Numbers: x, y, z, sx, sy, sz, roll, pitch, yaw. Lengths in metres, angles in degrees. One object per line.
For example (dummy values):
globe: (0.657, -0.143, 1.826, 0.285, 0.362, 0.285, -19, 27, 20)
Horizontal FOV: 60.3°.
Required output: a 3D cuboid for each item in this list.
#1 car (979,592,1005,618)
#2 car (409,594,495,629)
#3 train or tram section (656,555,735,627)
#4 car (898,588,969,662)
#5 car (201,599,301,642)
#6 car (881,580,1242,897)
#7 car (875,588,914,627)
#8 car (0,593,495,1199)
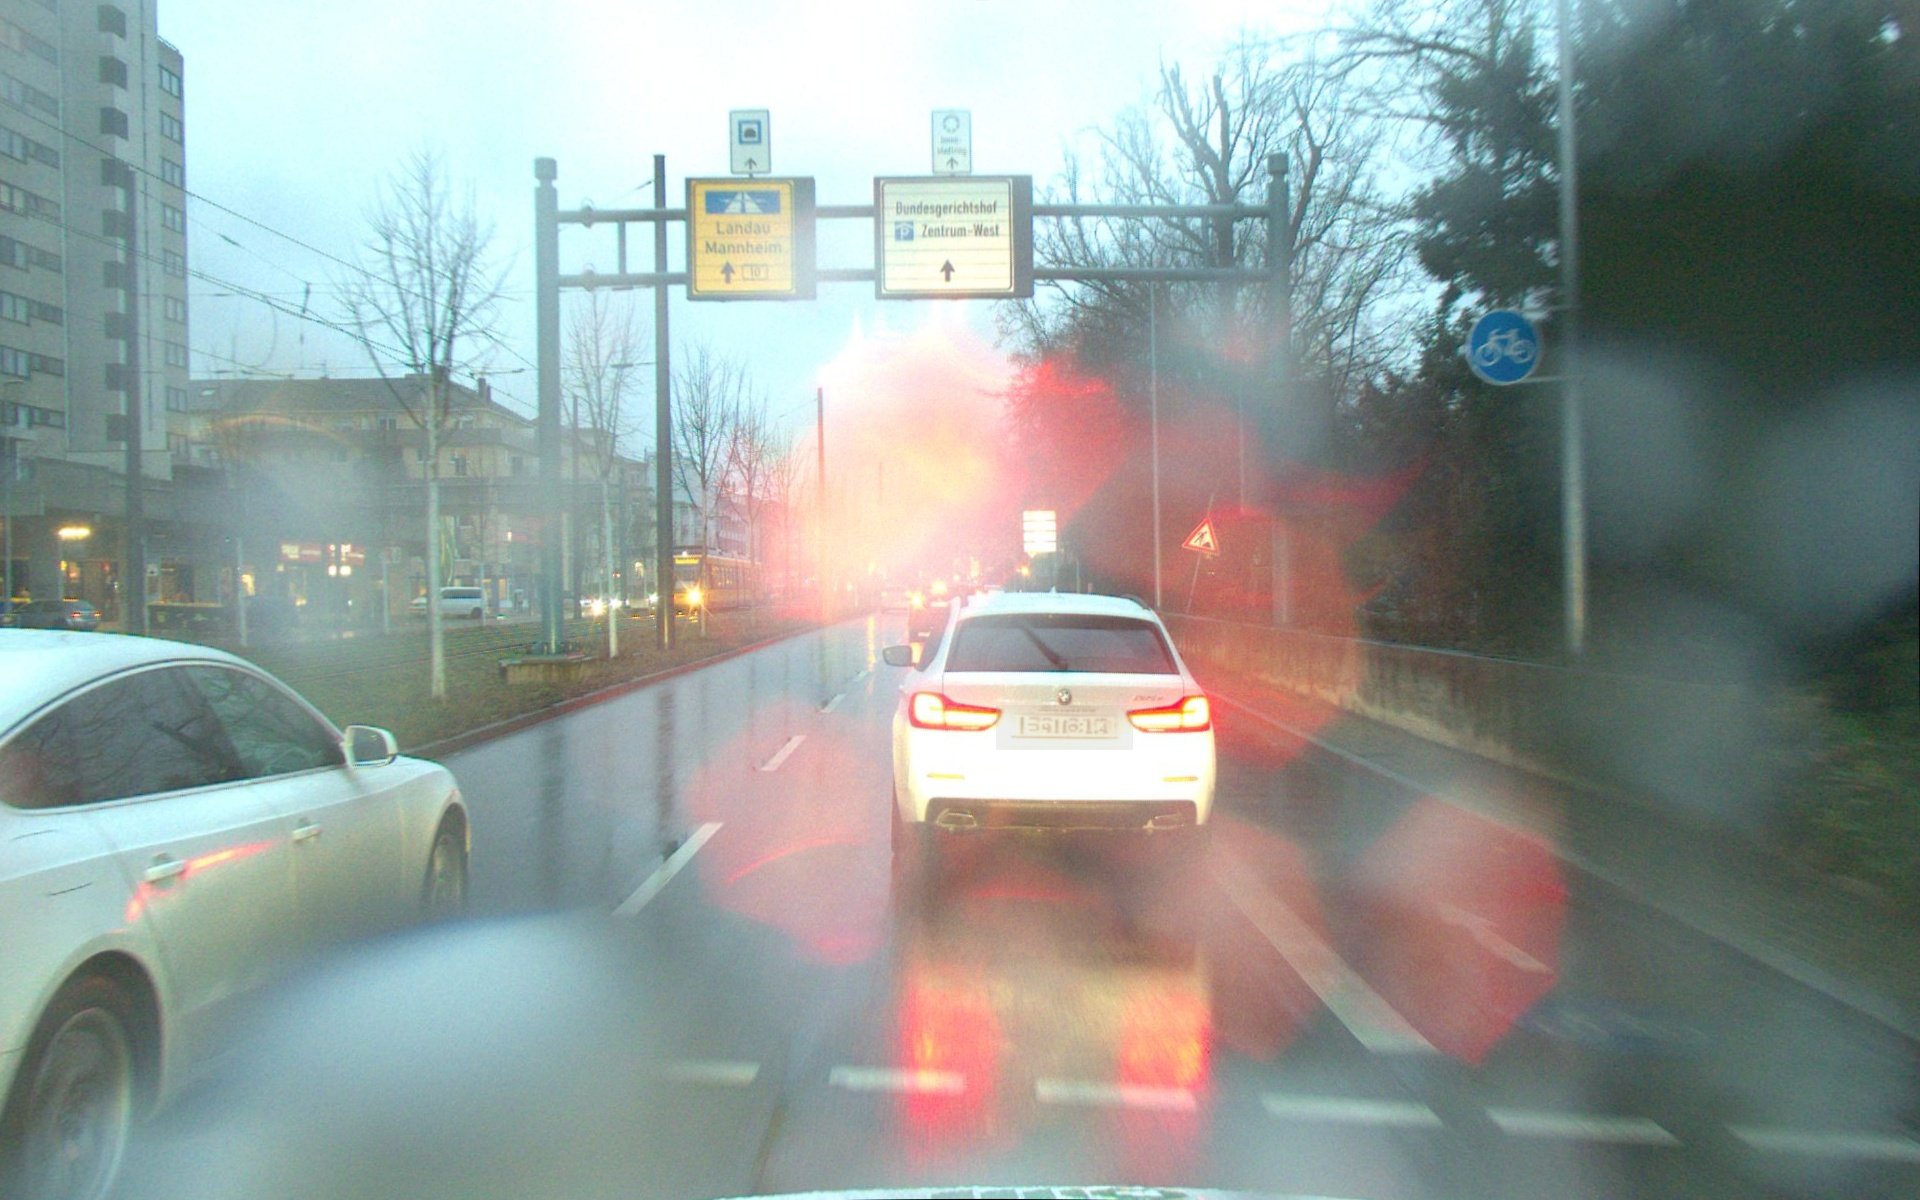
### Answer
car: (2.519, 0.392, 131.693, 1.953, 2.049, 3.999, 0, 0, -1)
car: (-31.831, 0.710, 103.703, 4.843, 2.049, 1.969, -1, 1, -42)
train or tram section: (-14.051, -0.457, 88.543, 2.784, 3.566, 9.156, -2, 0, -1)
car: (-0.763, 0.680, 48.043, 1.953, 2.049, 3.999, 0, 0, -1)
car: (-32.056, 0.924, 74.853, 3.787, 1.828, 1.880, -1, 1, -42)
car: (0.418, 0.684, 10.424, 1.725, 1.580, 4.248, 0, 0, -4)
car: (-3.522, 0.391, 89.569, 1.953, 2.049, 3.999, 0, 0, -1)
car: (-2.727, 0.730, 4.636, 1.724, 1.495, 4.250, 0, 0, -1)
